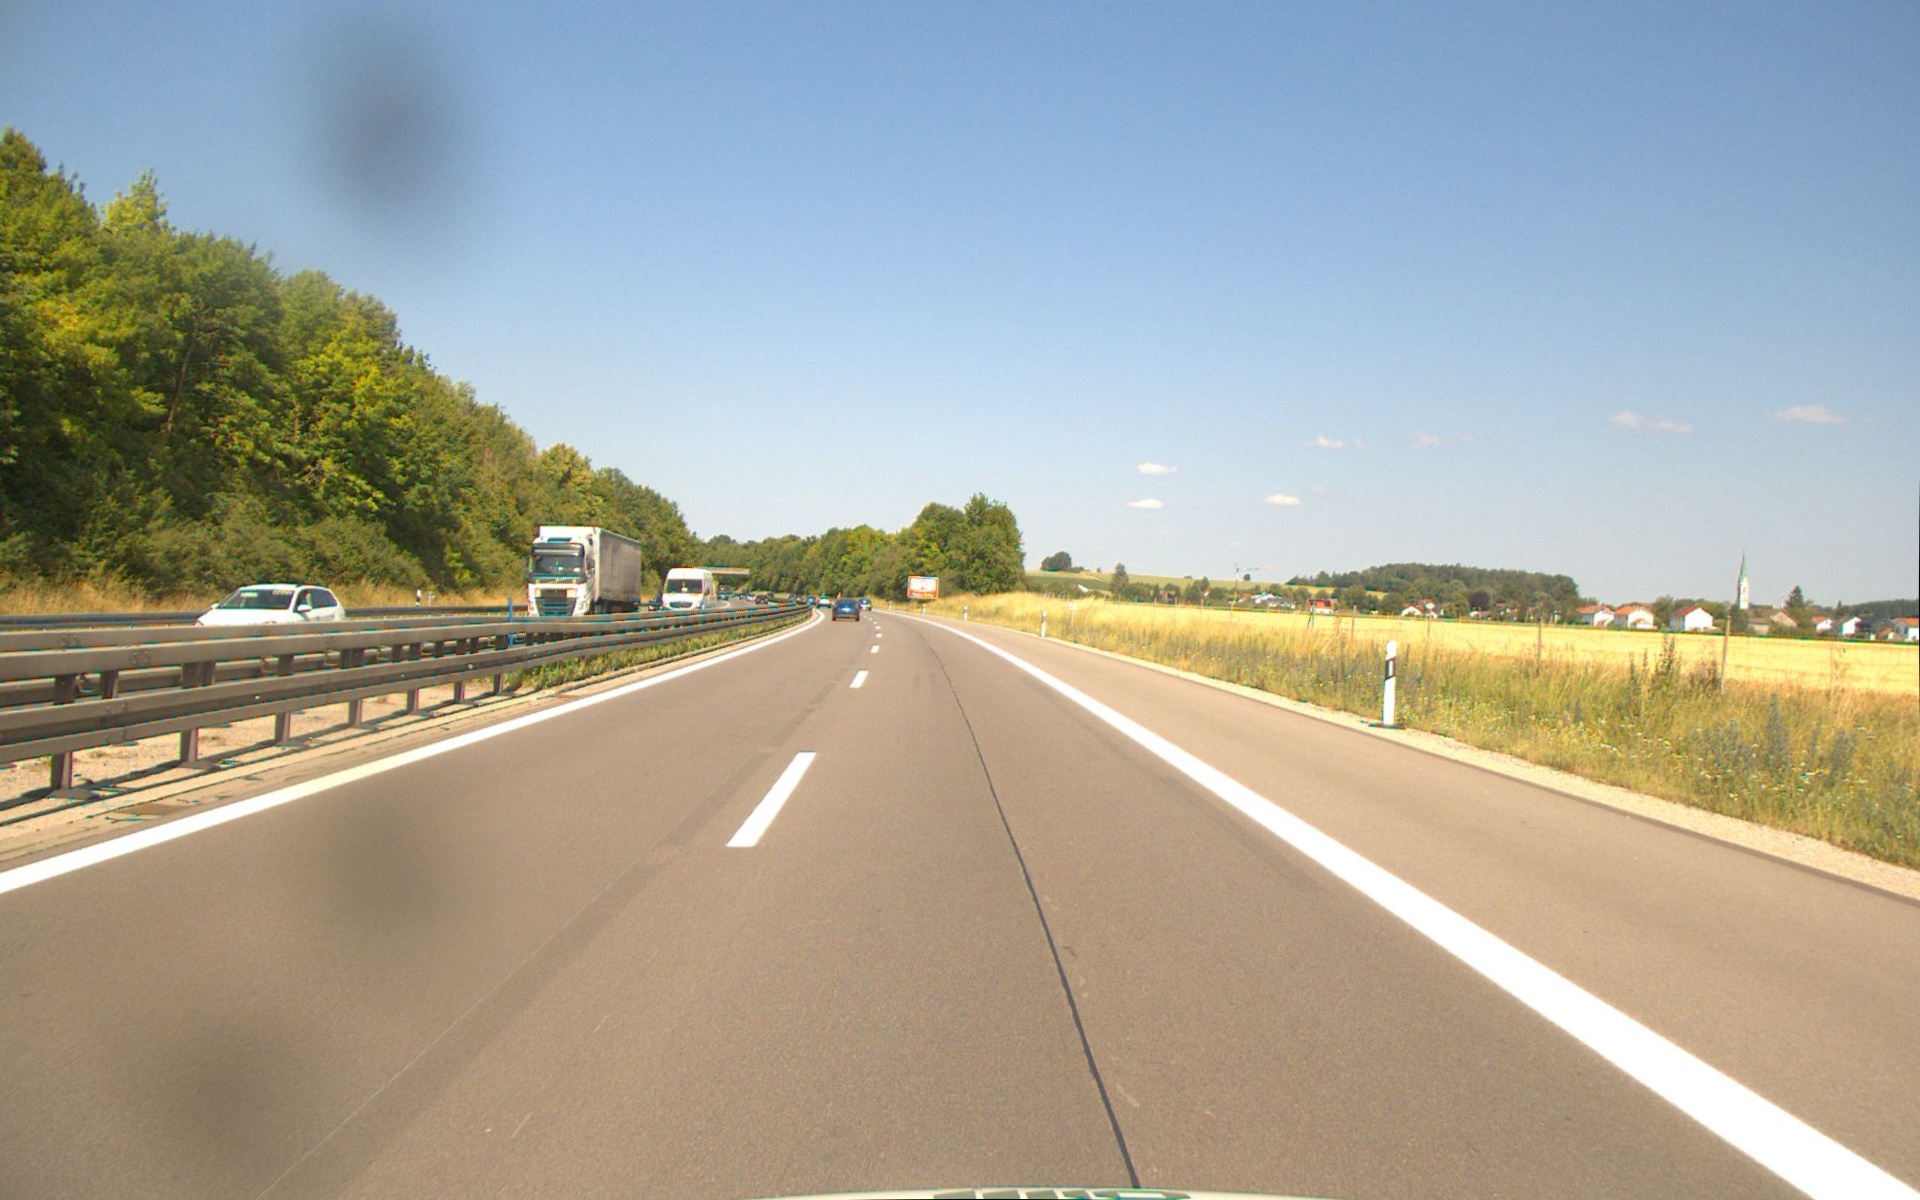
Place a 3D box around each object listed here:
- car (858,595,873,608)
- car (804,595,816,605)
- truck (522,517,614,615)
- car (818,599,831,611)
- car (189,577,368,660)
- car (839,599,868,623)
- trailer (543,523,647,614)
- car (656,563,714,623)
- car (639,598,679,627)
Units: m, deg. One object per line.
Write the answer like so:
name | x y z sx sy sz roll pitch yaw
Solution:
car | -11.094 0.175 193.683 1.643 1.478 3.588 2 0 -5
car | -23.493 -0.022 259.294 1.642 1.478 3.591 2 0 -1
truck | -16.515 -1.388 70.063 2.691 3.896 5.908 1 0 -3
car | -18.207 0.658 222.660 1.643 1.478 3.589 2 0 -4
car | -13.746 0.338 33.685 1.651 1.509 4.976 2 0 -1
car | -7.080 0.736 110.057 1.810 1.457 5.863 1 1 -3
trailer | -16.937 -1.398 77.627 2.691 3.896 11.915 1 0 -3
car | -12.881 -0.340 77.805 2.047 2.639 5.809 2 0 -4
car | -18.213 0.733 100.223 1.722 1.655 3.999 2 0 -1
